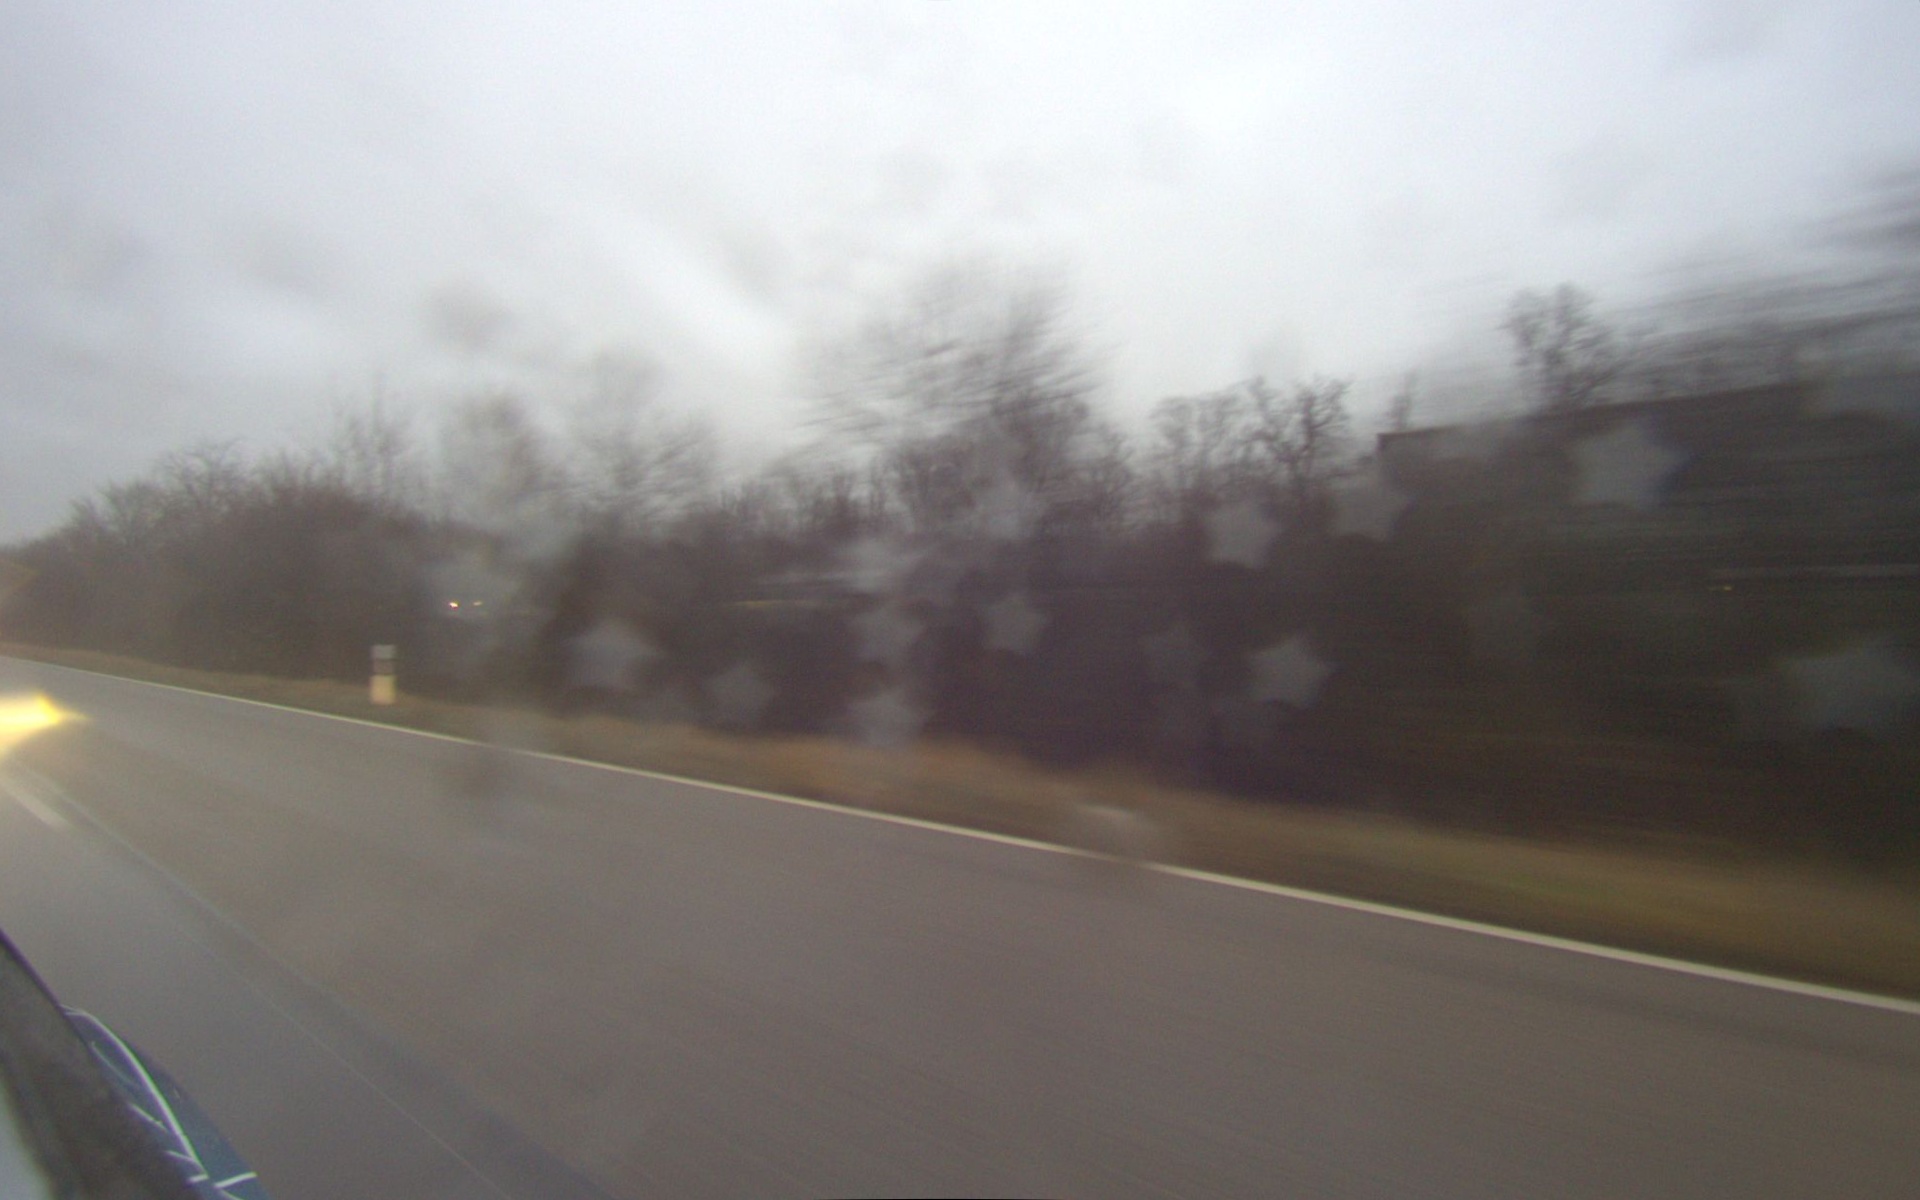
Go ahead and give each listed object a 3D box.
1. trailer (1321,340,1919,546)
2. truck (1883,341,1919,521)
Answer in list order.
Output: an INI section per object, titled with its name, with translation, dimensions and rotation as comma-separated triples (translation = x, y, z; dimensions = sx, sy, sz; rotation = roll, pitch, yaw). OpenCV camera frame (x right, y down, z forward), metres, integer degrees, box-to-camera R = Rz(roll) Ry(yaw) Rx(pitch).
[trailer]
translation = 13.592, -2.933, 21.506
dimensions = 11.080, 2.913, 2.410
rotation = -1, -1, 41
[truck]
translation = 19.106, -3.017, 16.713
dimensions = 5.581, 2.909, 2.424
rotation = -1, -1, 41
